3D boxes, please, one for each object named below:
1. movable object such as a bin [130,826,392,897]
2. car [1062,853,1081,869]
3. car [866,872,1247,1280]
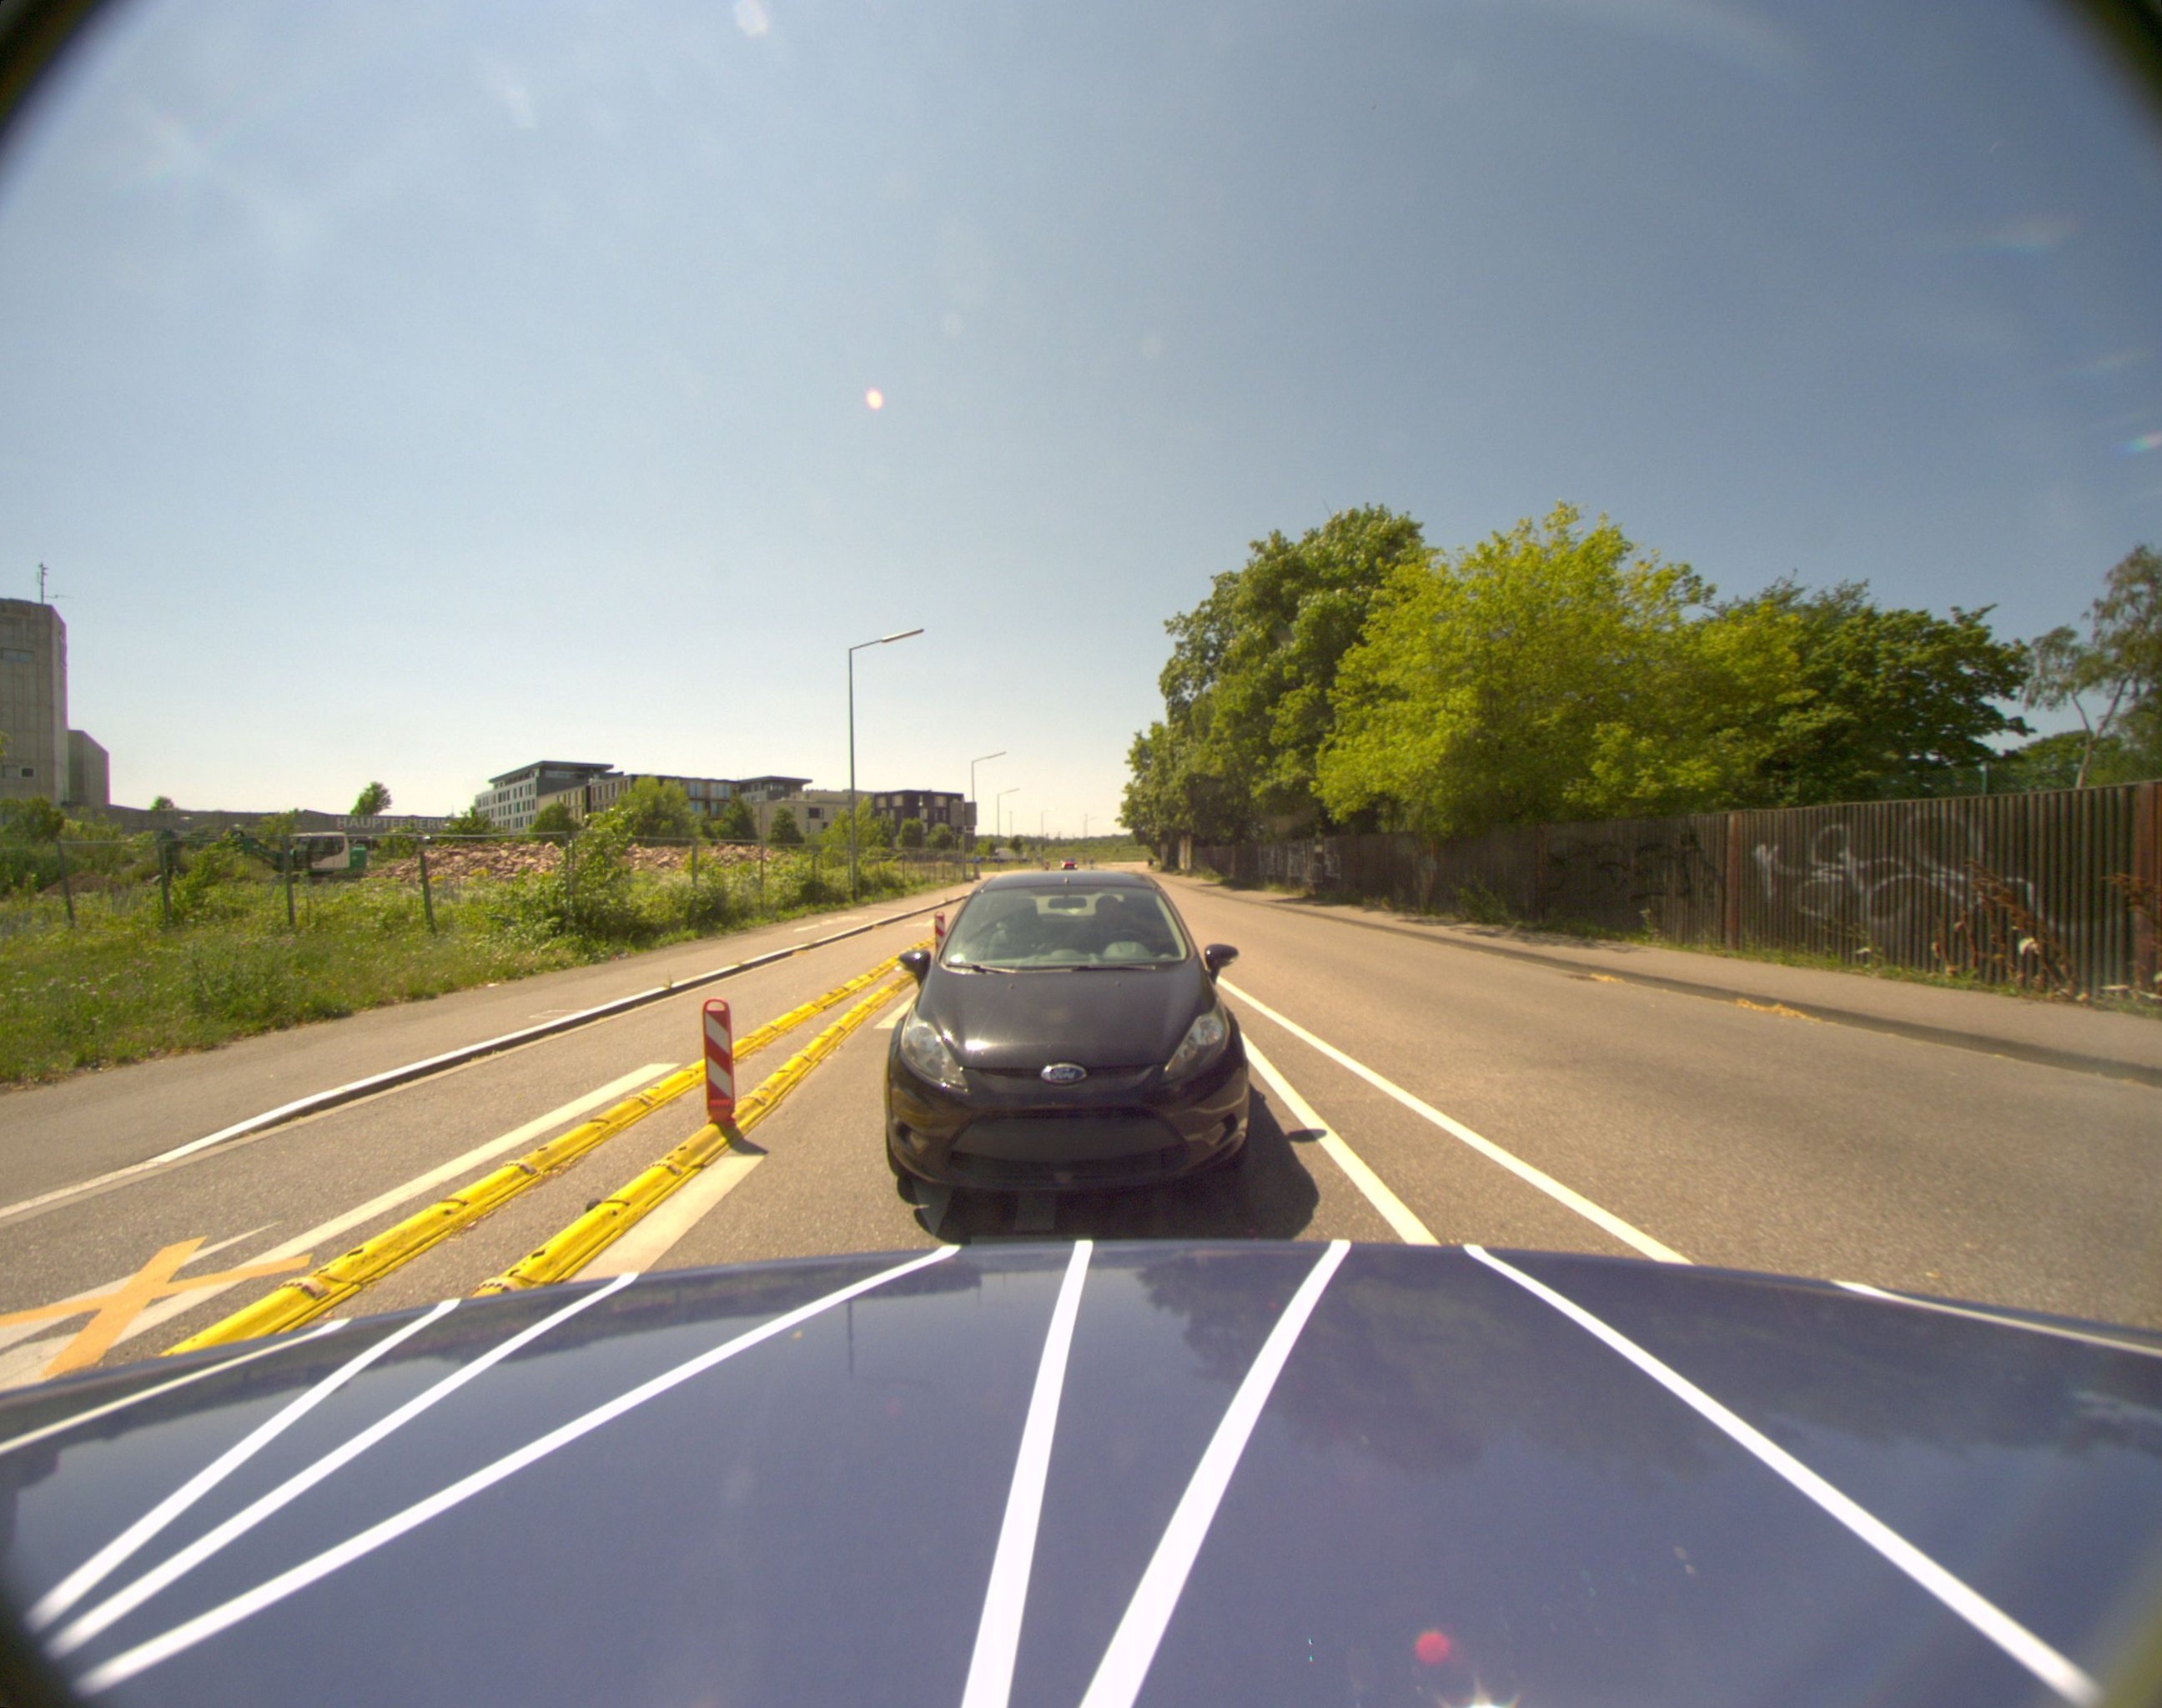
[{"bbox_3d":[-38.328,0.266,36.041,3.231,2.899,7.702,-2,1,15],"label":"movable object such as a bin"},{"bbox_3d":[-1.041,0.730,84.513,1.924,1.643,4.668,-2,1,1],"label":"car"},{"bbox_3d":[-0.073,0.975,5.157,1.528,1.510,3.999,-2,1,1],"label":"car"}]
